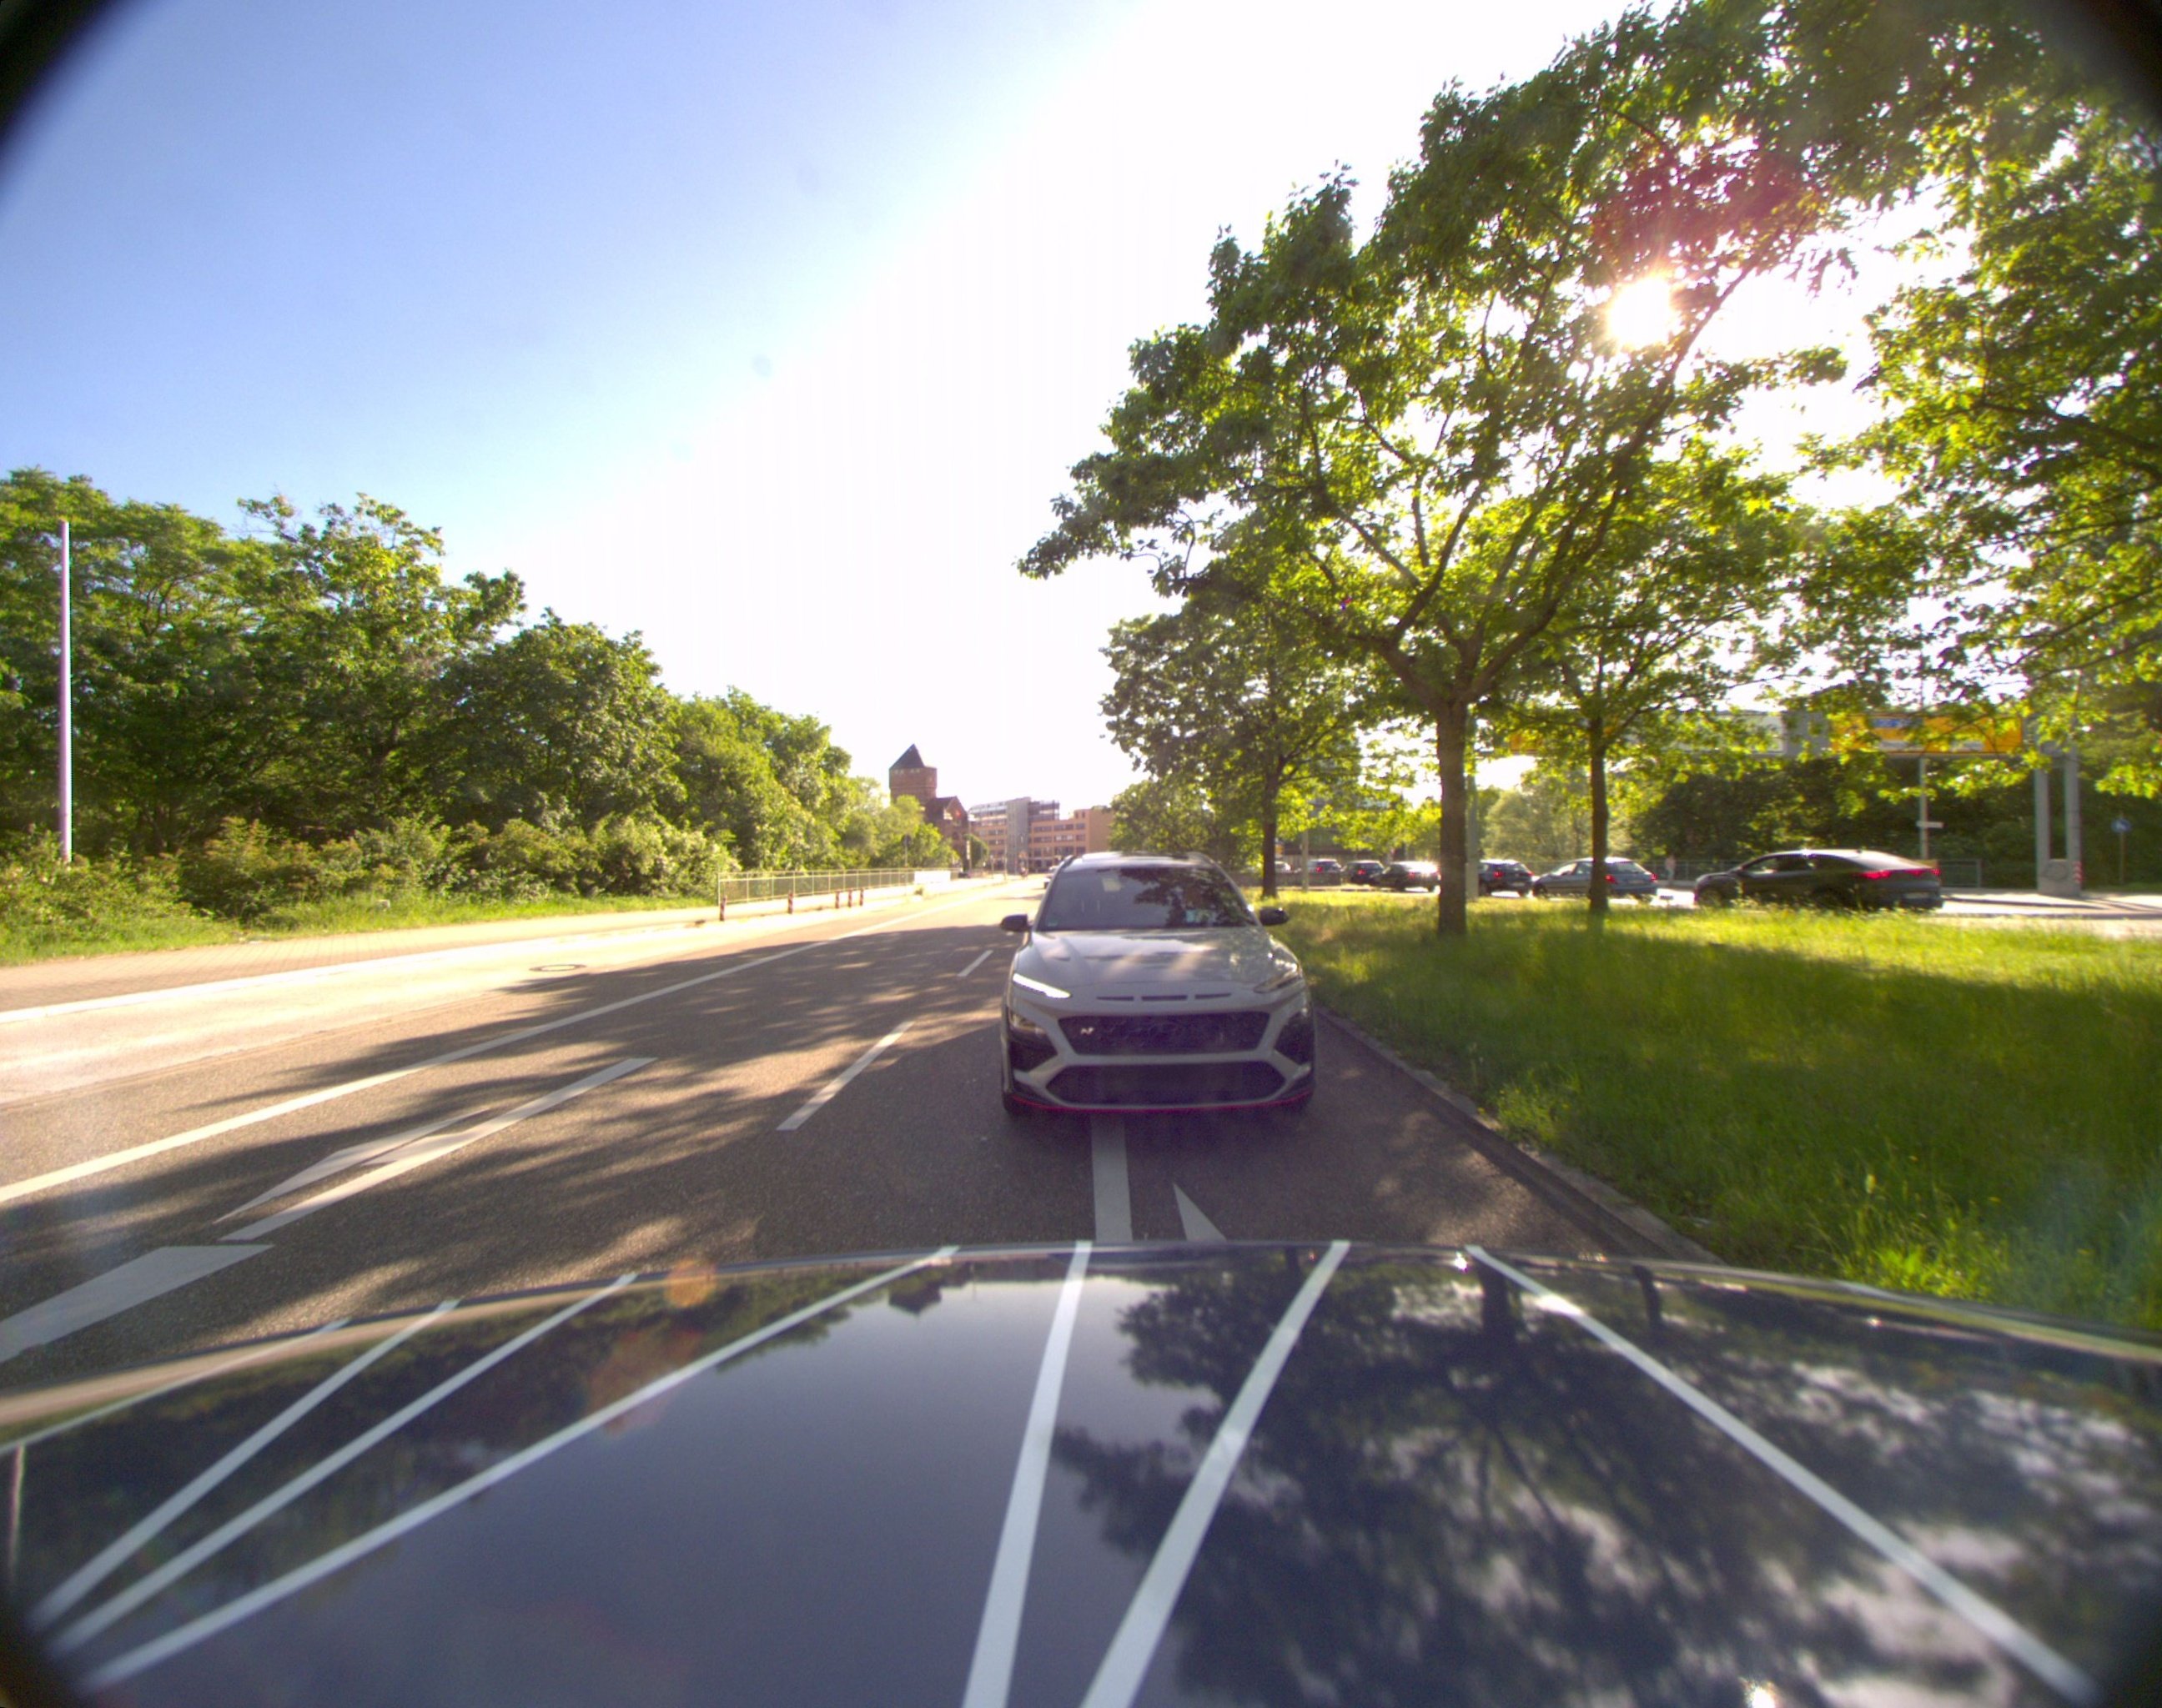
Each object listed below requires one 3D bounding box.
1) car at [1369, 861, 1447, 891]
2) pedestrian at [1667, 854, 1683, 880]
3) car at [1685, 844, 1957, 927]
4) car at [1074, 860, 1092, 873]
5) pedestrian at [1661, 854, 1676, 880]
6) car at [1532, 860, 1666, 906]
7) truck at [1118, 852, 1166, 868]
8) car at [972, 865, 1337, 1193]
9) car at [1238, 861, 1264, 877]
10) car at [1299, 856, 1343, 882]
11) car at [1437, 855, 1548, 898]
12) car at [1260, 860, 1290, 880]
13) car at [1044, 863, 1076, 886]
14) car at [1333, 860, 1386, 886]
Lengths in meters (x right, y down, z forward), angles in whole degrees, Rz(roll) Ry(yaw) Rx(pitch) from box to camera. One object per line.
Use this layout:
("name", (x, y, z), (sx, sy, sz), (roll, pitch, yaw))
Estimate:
("car", (15.469, 0.995, 36.220), (1.623, 1.305, 4.066), (-1, 0, -6))
("pedestrian", (34.091, 0.737, 43.599), (0.421, 1.490, 0.545), (-1, 0, -7))
("car", (16.774, 0.645, 17.620), (1.831, 1.638, 4.459), (-1, 0, -3))
("car", (0.321, 1.947, 117.295), (1.996, 2.002, 4.004), (-1, 0, 13))
("pedestrian", (33.665, 0.739, 43.521), (0.421, 1.490, 0.545), (-1, 0, -7))
("car", (16.384, 0.879, 24.249), (1.561, 1.355, 3.608), (-1, -1, -6))
("truck", (12.605, 1.237, 156.705), (9.141, 3.231, 3.535), (-1, 0, 26))
("car", (0.384, 0.881, 5.685), (1.752, 1.523, 3.988), (-1, 0, 1))
("car", (13.937, 1.274, 62.325), (1.199, 1.252, 2.768), (-1, -2, -6))
("car", (14.968, 0.988, 47.499), (1.450, 1.549, 3.202), (-1, -2, -6))
("car", (16.182, 0.844, 30.147), (1.875, 1.541, 4.221), (-1, 0, -4))
("car", (14.314, 1.205, 56.128), (1.228, 1.331, 2.882), (-1, -3, -6))
("car", (-1.347, 1.309, 49.937), (1.892, 1.420, 4.387), (-1, 0, 1))
("car", (15.145, 1.031, 41.476), (1.481, 1.331, 3.202), (-1, -1, -6))
